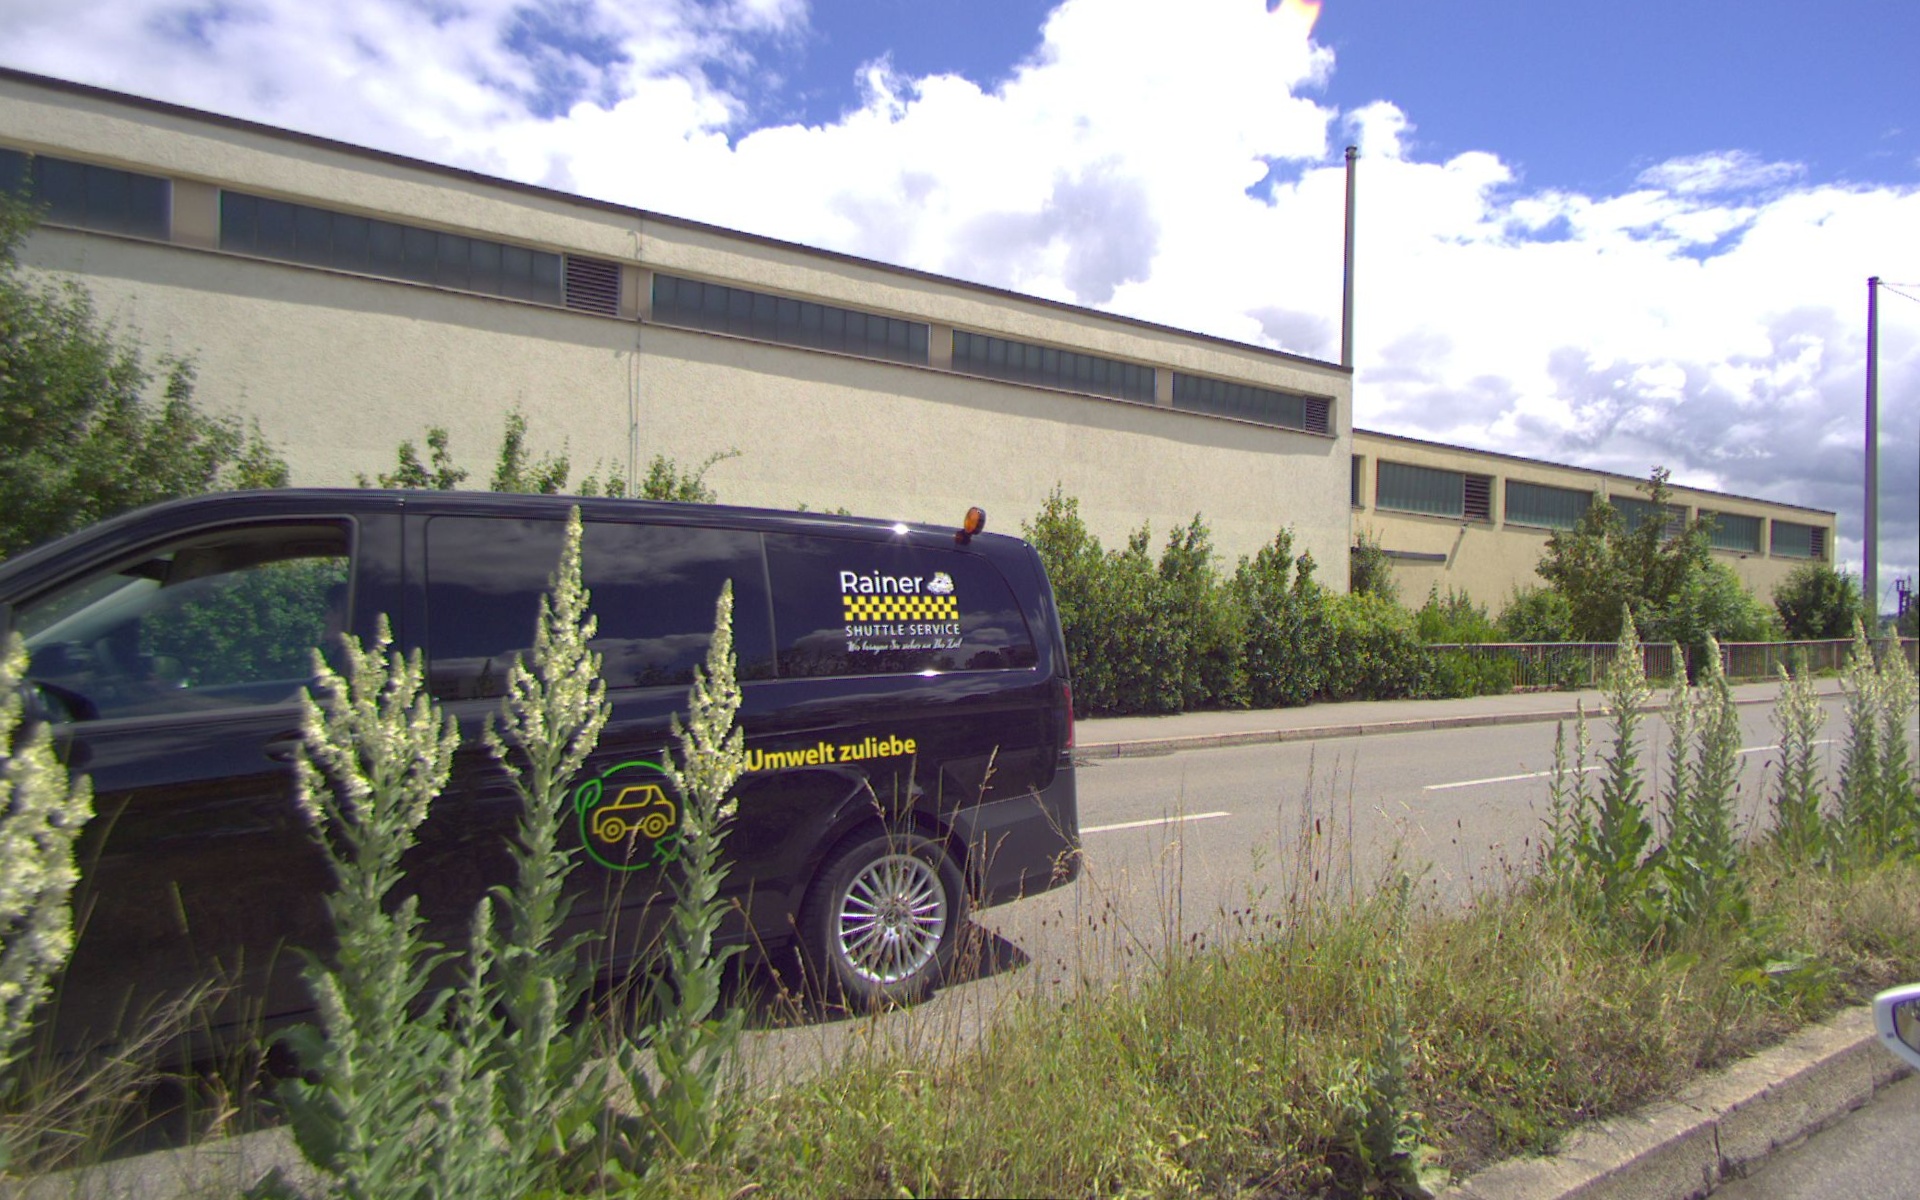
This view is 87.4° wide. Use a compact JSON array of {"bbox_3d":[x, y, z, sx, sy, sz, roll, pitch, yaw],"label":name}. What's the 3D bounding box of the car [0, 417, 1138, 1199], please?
[{"bbox_3d":[-1.789,0.531,3.870,4.815,1.913,1.982,1,0,-32],"label":"car"}]
